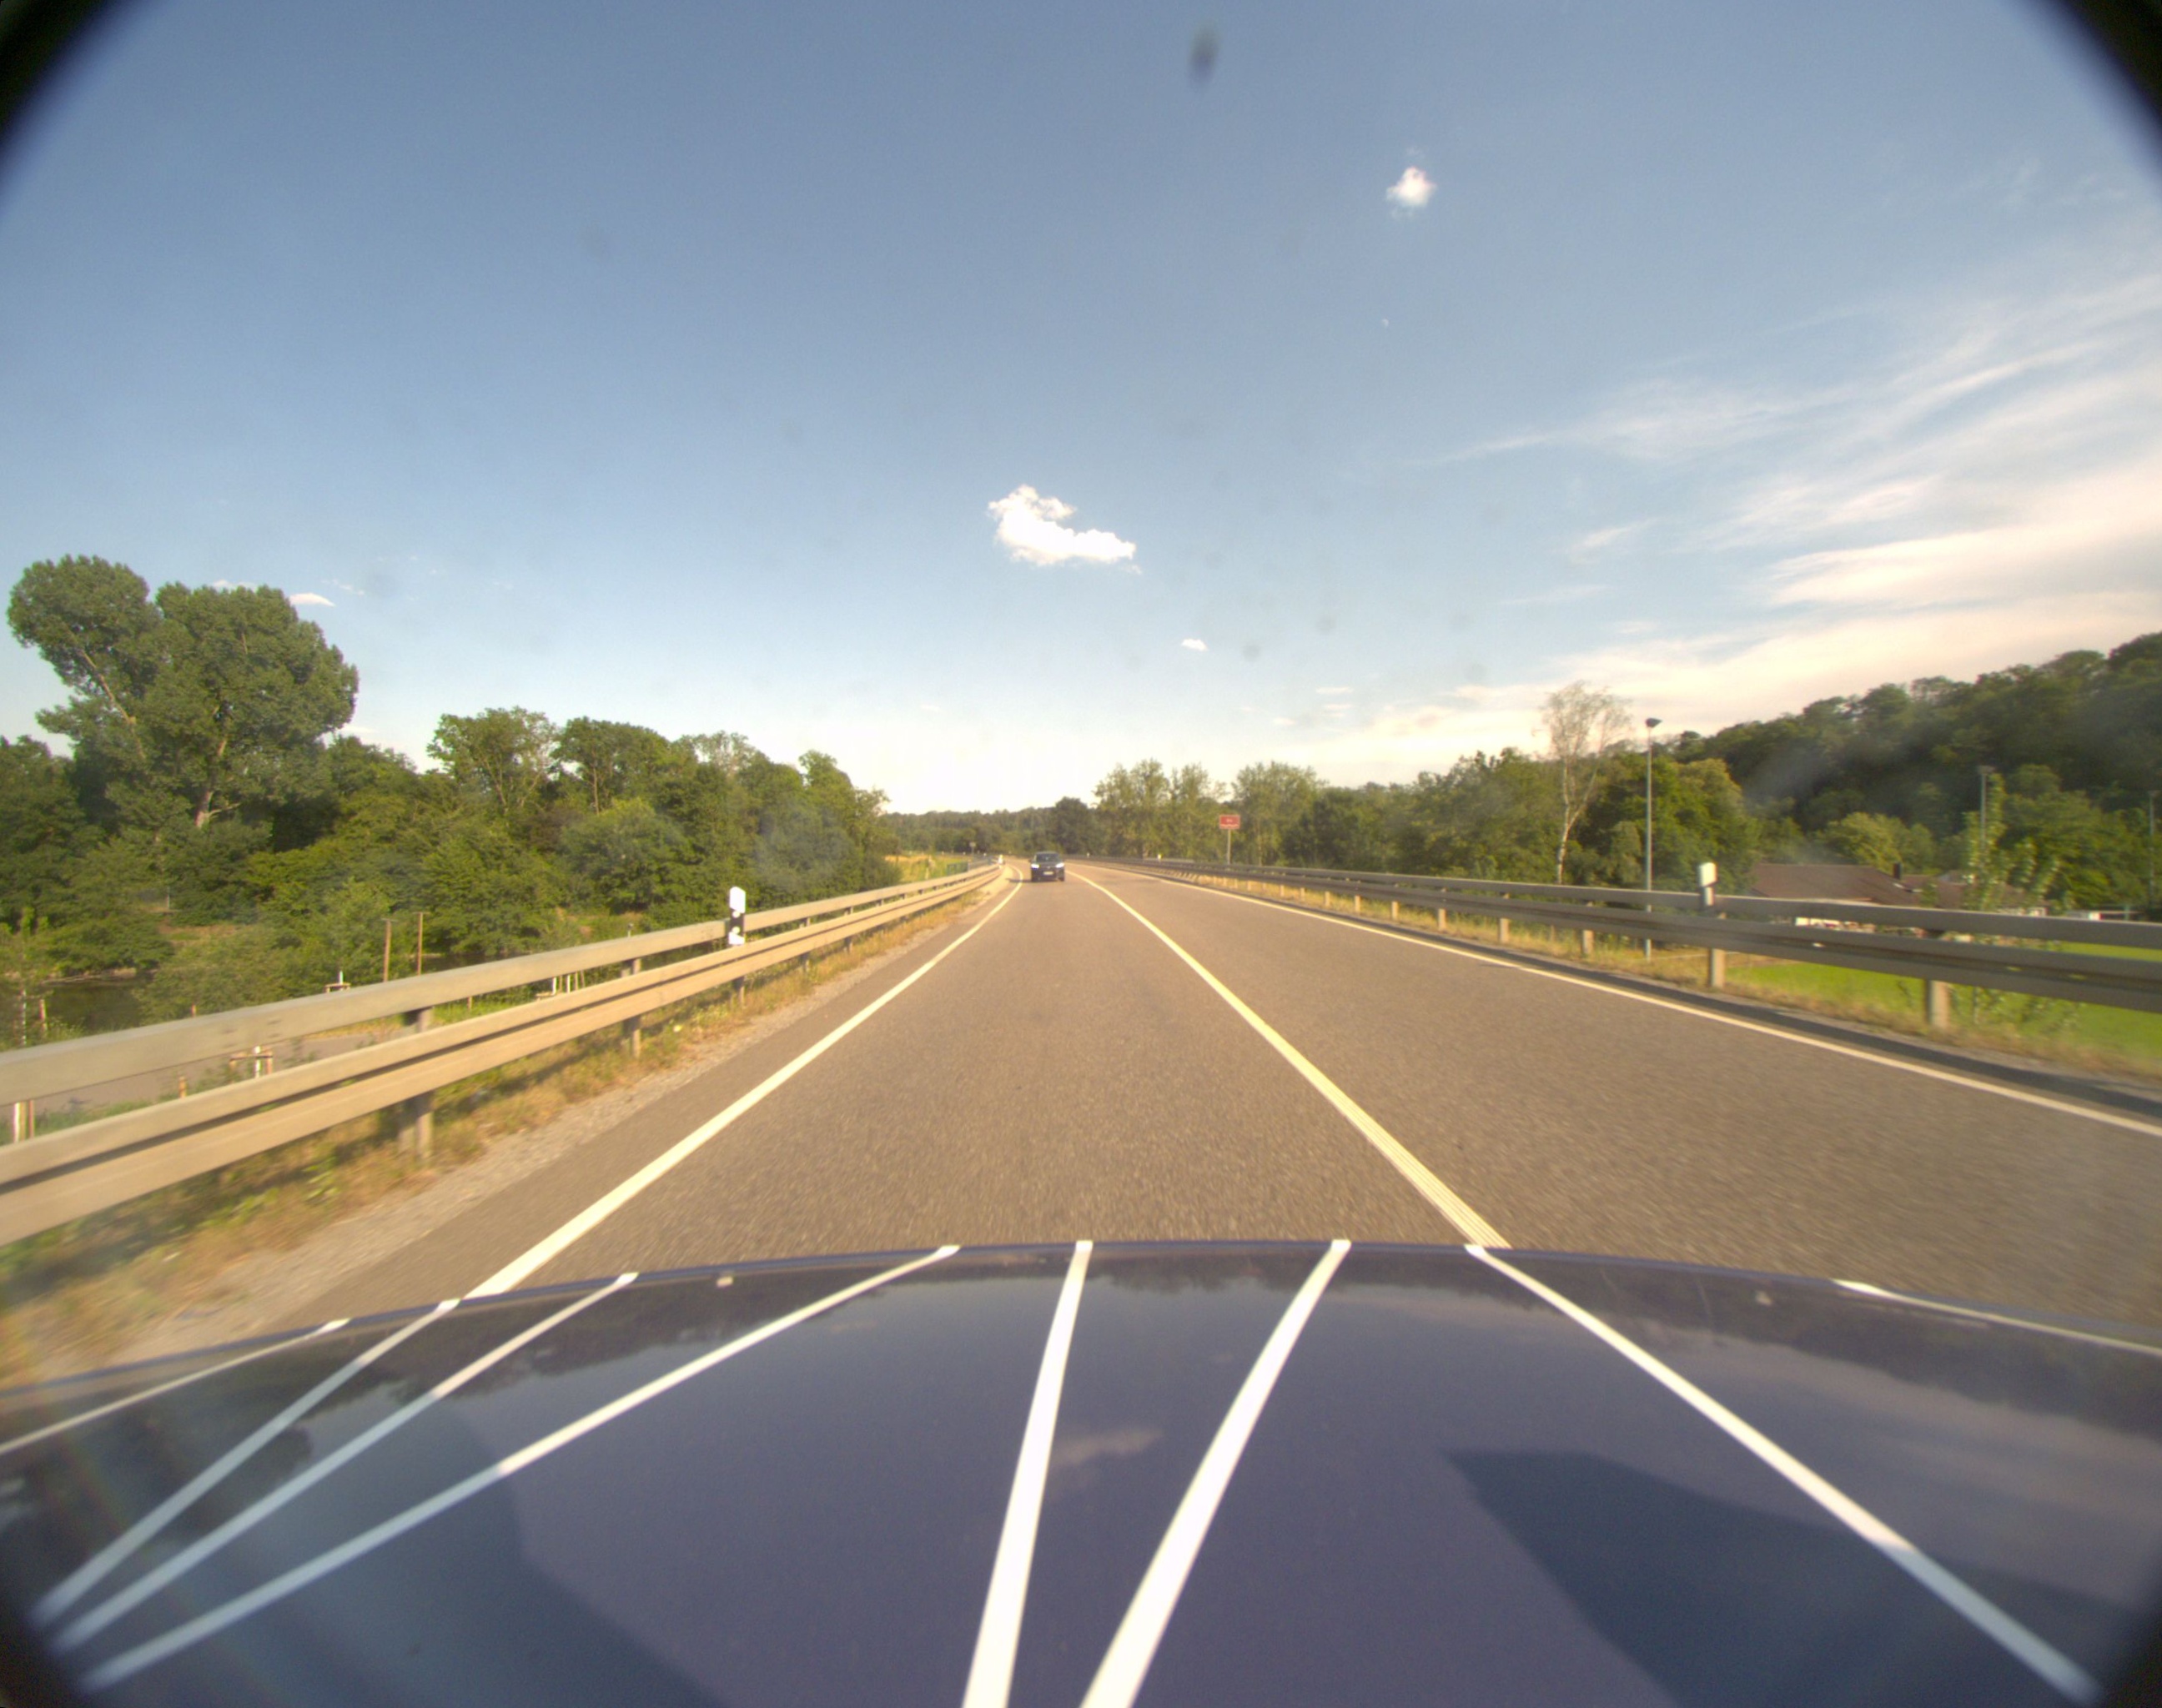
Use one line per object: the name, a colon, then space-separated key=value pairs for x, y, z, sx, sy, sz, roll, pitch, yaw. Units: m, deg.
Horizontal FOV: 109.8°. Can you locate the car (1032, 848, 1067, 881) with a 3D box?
car: x=-1.829 y=0.545 z=42.737 sx=1.751 sy=1.645 sz=4.303 roll=-1 pitch=1 yaw=-5
